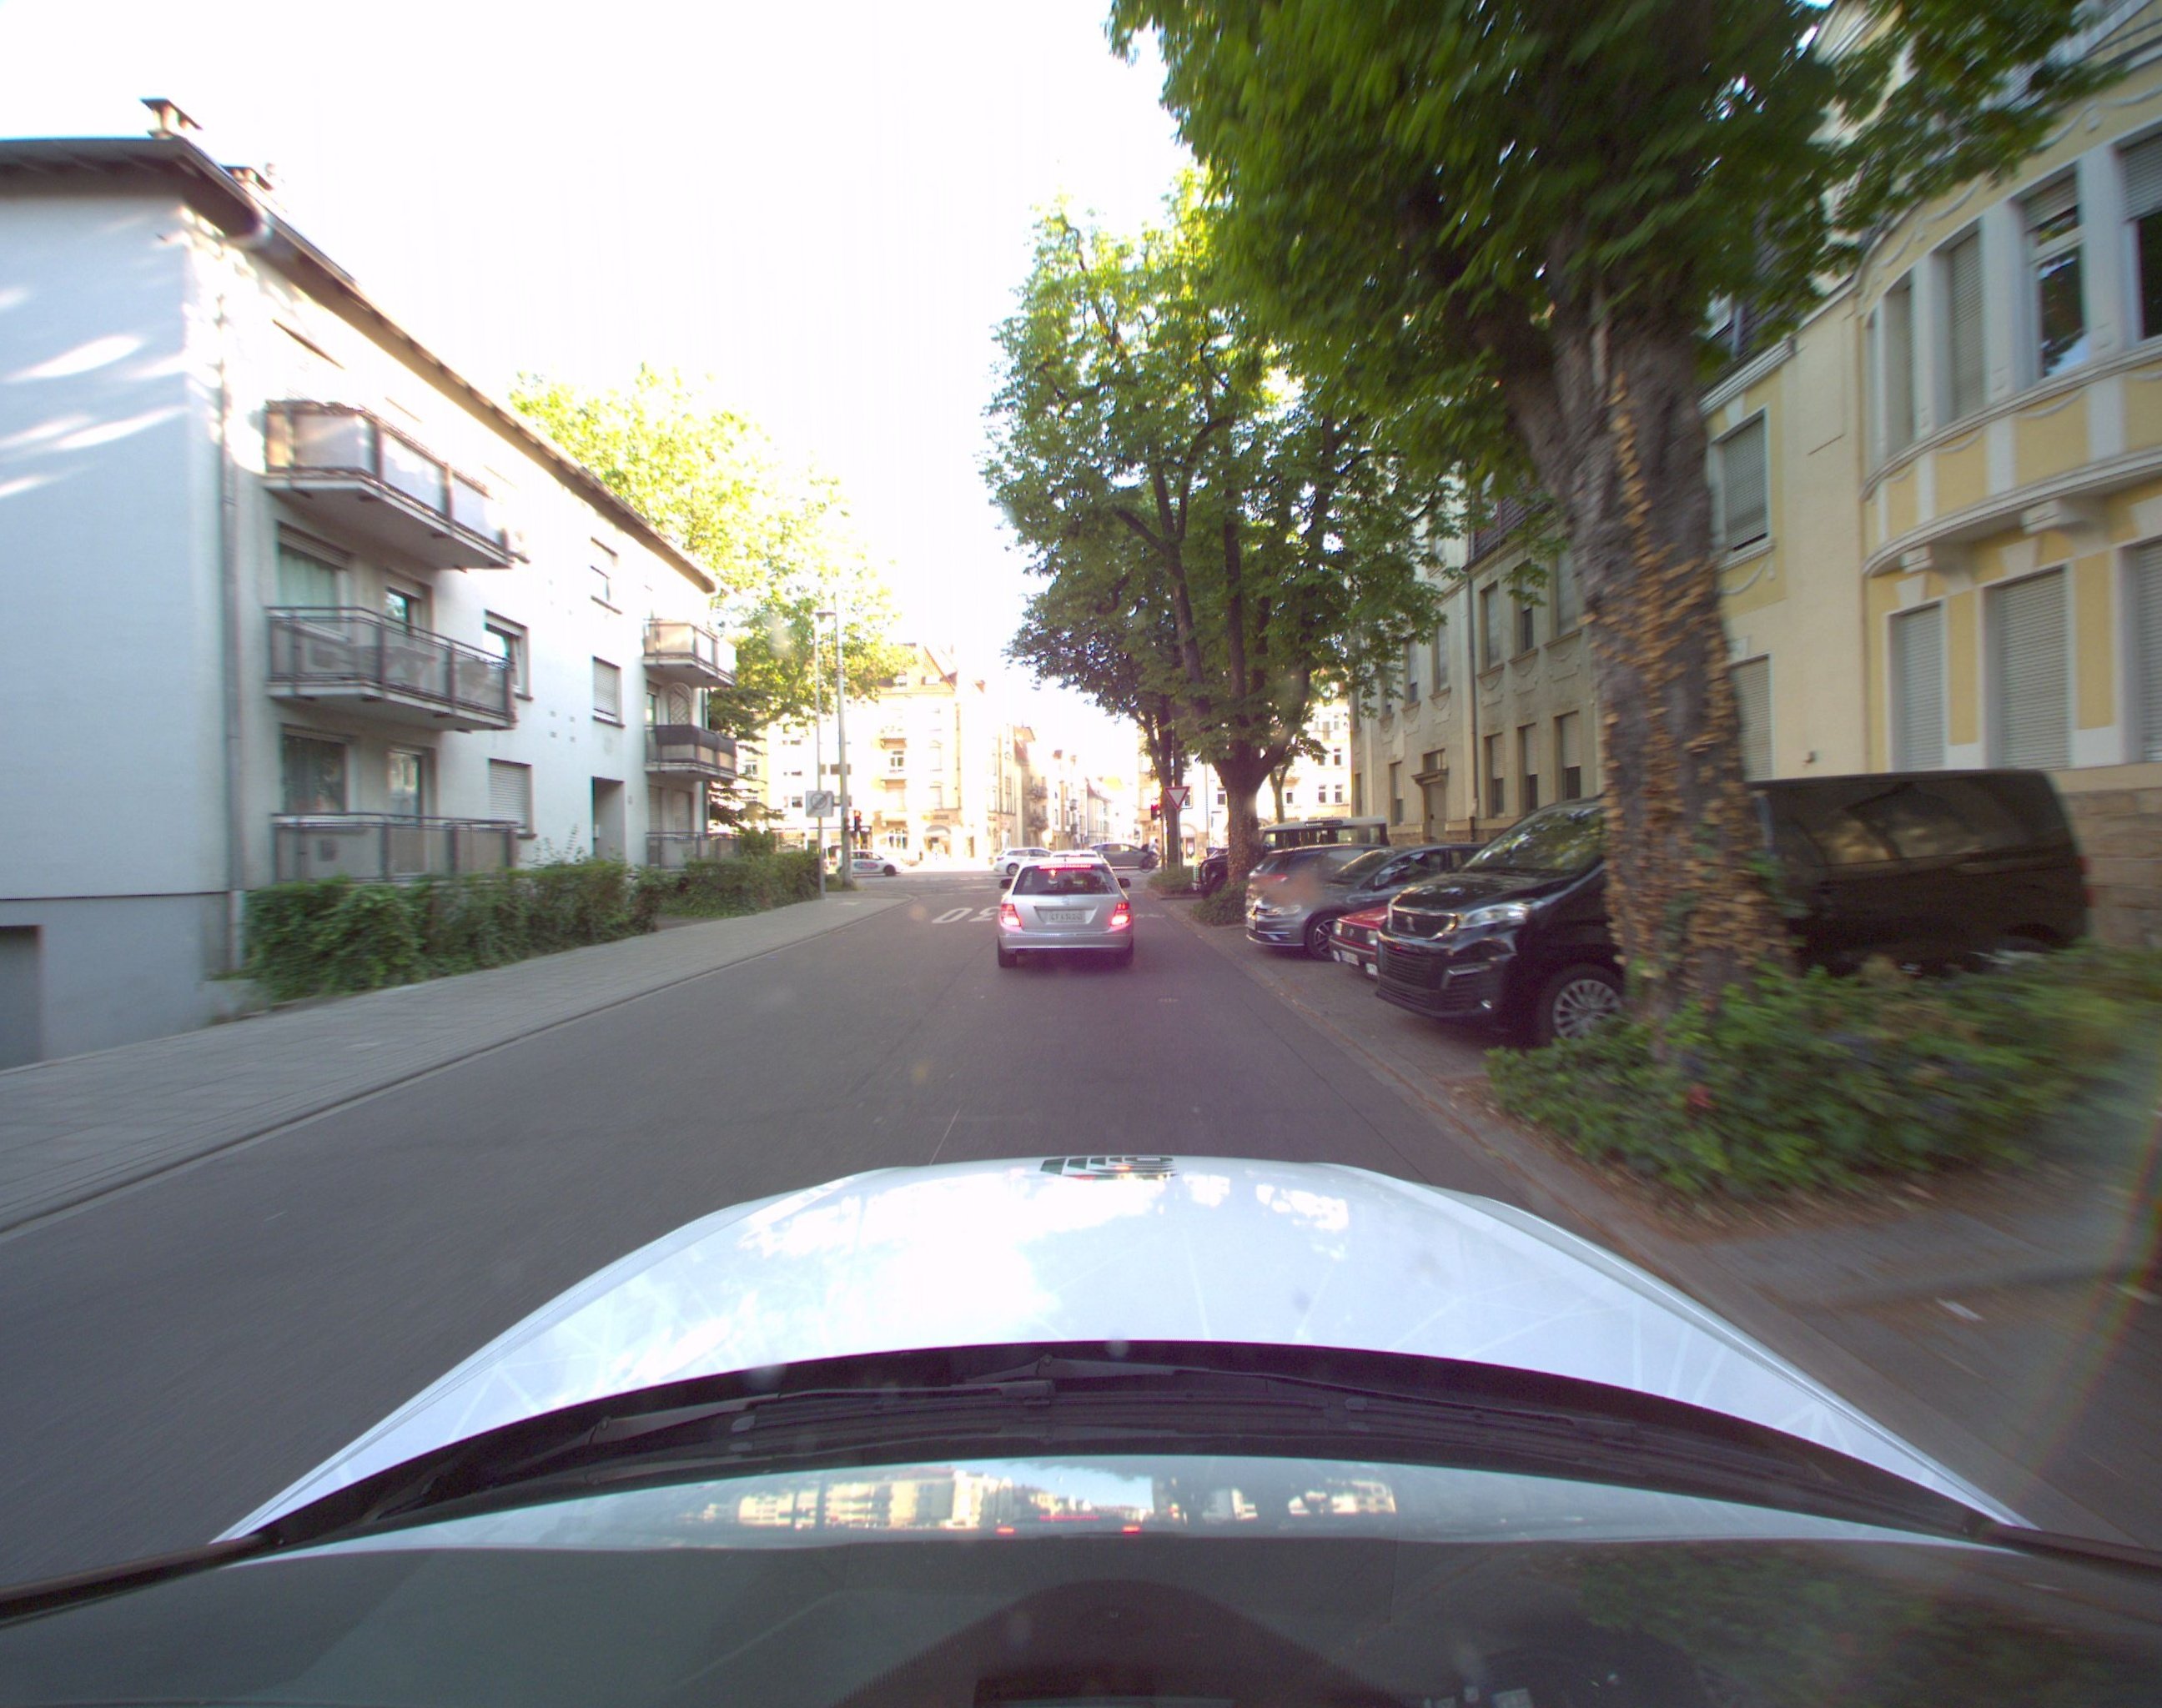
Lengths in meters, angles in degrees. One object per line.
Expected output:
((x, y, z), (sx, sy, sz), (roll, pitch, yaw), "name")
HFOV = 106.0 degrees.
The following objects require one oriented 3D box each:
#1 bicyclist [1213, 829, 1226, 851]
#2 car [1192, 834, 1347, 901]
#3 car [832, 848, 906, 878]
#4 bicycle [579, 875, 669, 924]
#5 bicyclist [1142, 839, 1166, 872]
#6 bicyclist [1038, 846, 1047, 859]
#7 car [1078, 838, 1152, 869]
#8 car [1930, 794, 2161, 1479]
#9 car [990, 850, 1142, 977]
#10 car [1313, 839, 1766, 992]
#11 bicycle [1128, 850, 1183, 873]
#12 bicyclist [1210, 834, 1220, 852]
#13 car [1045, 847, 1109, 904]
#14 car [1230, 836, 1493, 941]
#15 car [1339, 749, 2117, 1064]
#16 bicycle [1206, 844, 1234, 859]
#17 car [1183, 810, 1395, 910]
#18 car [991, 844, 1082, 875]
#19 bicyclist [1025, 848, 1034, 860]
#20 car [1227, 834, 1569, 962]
((11.745, -1.178, 69.038), (0.890, 1.859, 0.636), (-1, 0, -4), "bicyclist")
((5.025, 0.339, 22.006), (3.715, 1.570, 1.707), (-3, 0, -3), "car")
((-11.575, 0.475, 44.641), (3.683, 1.449, 1.512), (-2, 0, -8), "car")
((-9.932, 0.974, 17.725), (1.630, 1.008, 0.511), (1, 0, -40), "bicycle")
((3.728, 0.068, 41.581), (0.997, 1.654, 0.804), (-2, 0, -10), "bicyclist")
((-3.915, -0.121, 82.483), (0.765, 1.290, 0.755), (-1, 1, 12), "bicyclist")
((1.932, -0.032, 46.424), (3.962, 1.581, 1.735), (-2, 1, -7), "car")
((4.643, 0.529, 1.471), (4.500, 1.523, 1.842), (-3, 0, -4), "car")
((-0.196, 0.687, 11.911), (1.772, 1.452, 4.546), (-1, 1, -1), "car")
((4.877, 0.602, 8.989), (4.128, 1.315, 1.627), (-3, 0, -4), "car")
((3.795, 0.376, 41.592), (2.683, 1.040, 0.804), (-2, 0, -10), "bicycle")
((11.142, -0.929, 67.840), (0.642, 1.426, 0.636), (-1, 0, -4), "bicyclist")
((-0.130, 0.529, 23.013), (1.614, 1.446, 4.343), (-1, 1, -1), "car")
((4.521, 0.524, 13.475), (3.715, 1.452, 1.707), (-3, 0, -3), "car")
((4.731, 0.318, 6.420), (4.740, 1.874, 1.895), (-3, 0, -4), "car")
((11.788, -0.227, 69.049), (2.252, 1.246, 0.636), (-2, 0, -4), "bicycle")
((4.779, 0.132, 19.071), (4.454, 2.036, 1.699), (-3, 0, -3), "car")
((-2.374, 0.286, 43.017), (4.659, 1.448, 1.735), (-2, 1, -9), "car")
((-5.216, -0.030, 82.485), (0.765, 1.156, 0.755), (-1, 1, 12), "bicyclist")
((4.235, 0.551, 11.293), (4.043, 1.452, 1.721), (-3, 0, -3), "car")
